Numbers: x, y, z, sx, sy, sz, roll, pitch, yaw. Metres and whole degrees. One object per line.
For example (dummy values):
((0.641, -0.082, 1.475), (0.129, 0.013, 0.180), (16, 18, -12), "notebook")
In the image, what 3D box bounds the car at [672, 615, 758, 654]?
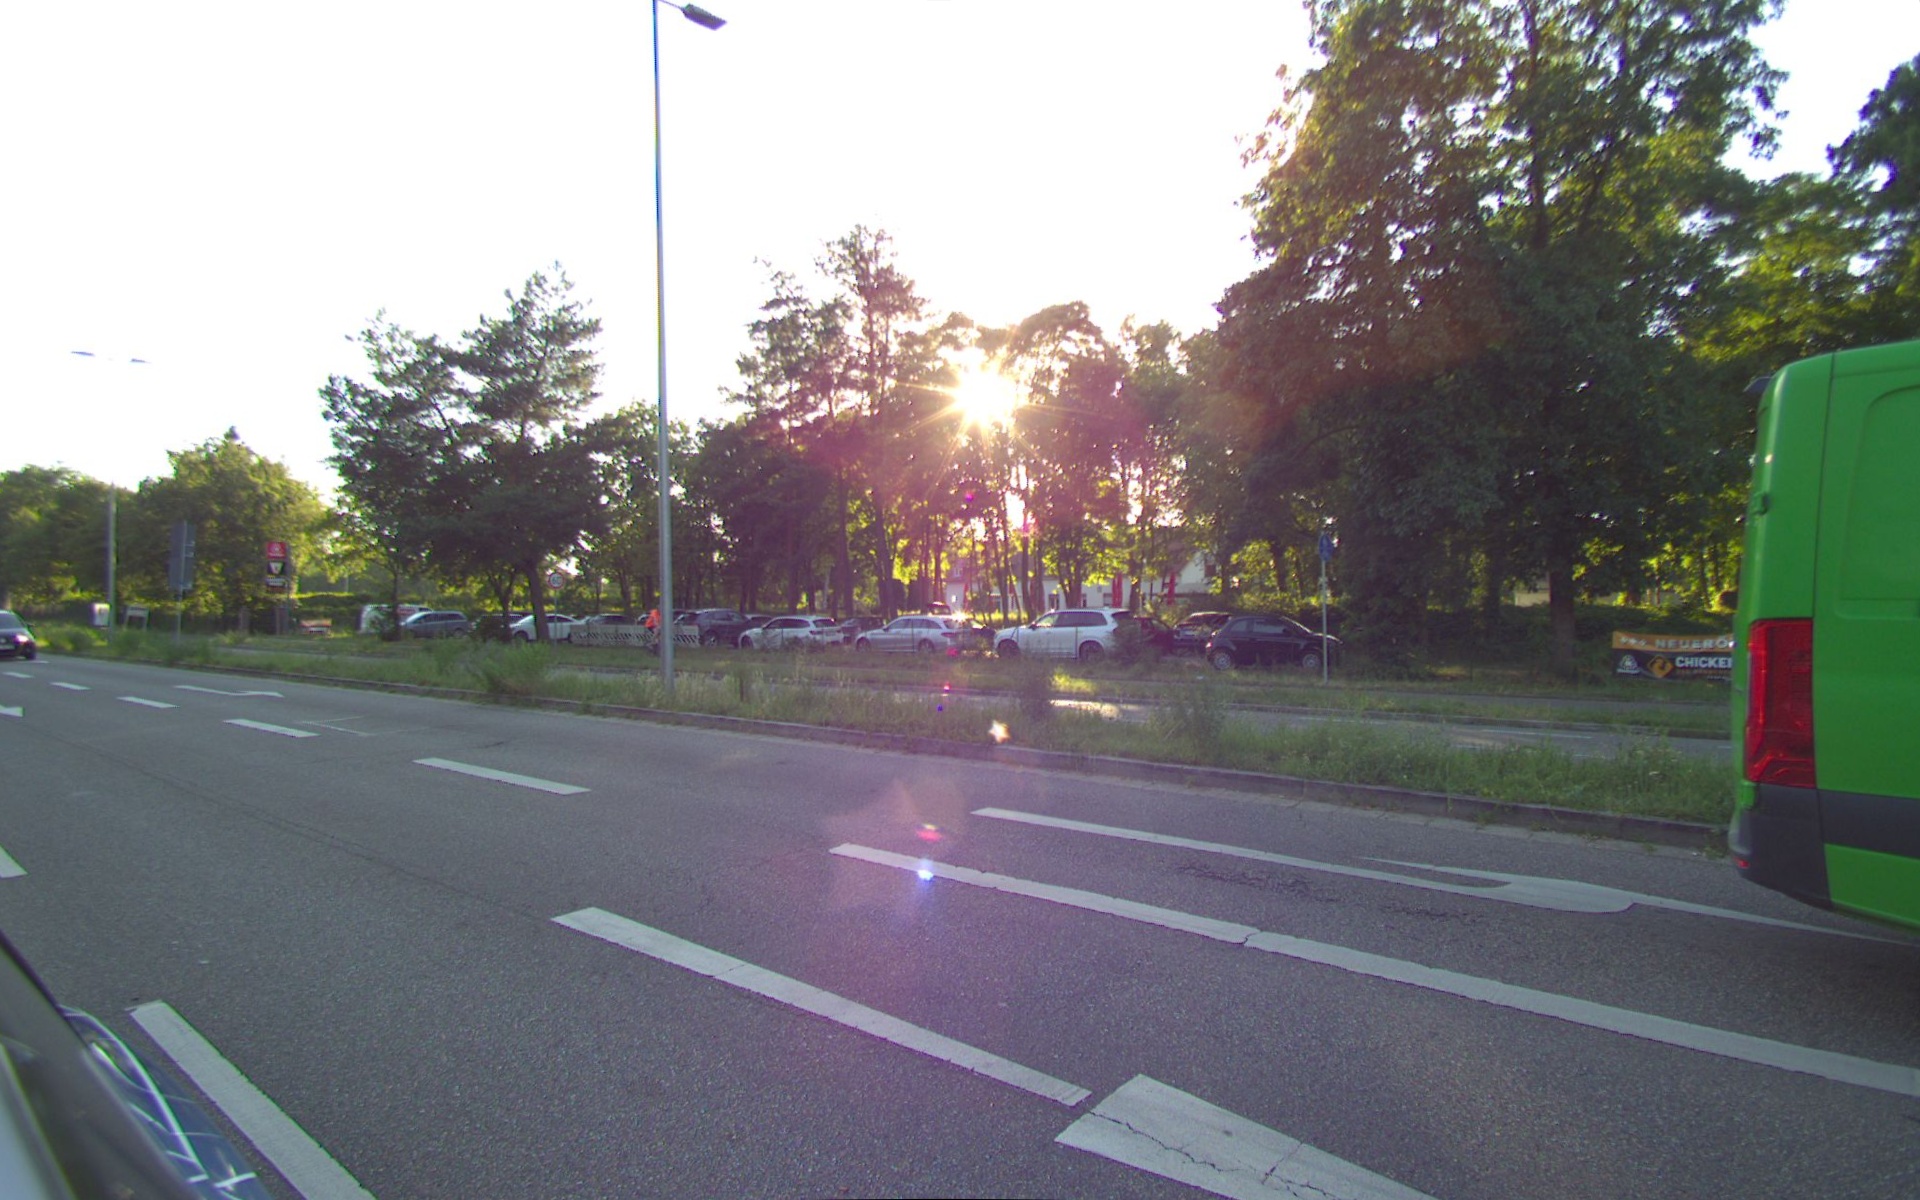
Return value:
((-9.979, 1.385, 41.342), (1.657, 1.538, 3.060), (-1, -2, 38), "car")

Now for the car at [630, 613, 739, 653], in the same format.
((-11.898, 1.418, 43.940), (1.769, 1.629, 4.470), (-1, -2, 37), "car")

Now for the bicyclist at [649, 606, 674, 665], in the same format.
((-9.649, 1.146, 32.711), (0.616, 1.888, 0.454), (-1, -2, 35), "bicyclist")

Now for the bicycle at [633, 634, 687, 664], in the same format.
((-9.723, 1.579, 32.744), (2.039, 0.940, 0.488), (-1, -2, 34), "bicycle")

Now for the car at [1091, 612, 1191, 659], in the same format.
((6.826, 1.313, 37.847), (1.918, 1.663, 3.944), (-1, -2, 42), "car")

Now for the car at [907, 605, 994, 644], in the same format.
((-0.383, 1.105, 45.113), (1.765, 1.663, 3.947), (-1, -2, 39), "car")

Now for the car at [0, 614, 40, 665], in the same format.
((-30.825, 1.228, 32.017), (3.996, 1.564, 1.974), (-1, -2, 39), "car")

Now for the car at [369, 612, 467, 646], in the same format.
((-30.267, 1.606, 56.641), (1.907, 1.811, 4.443), (-1, -2, 38), "car")

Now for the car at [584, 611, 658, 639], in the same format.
((-20.493, 1.507, 61.240), (1.765, 1.663, 3.947), (-1, -2, 40), "car")

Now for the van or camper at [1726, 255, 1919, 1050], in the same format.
((5.472, 0.136, 2.265), (5.891, 2.439, 1.973), (-1, -2, 40), "van or camper")

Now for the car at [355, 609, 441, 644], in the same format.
((-32.538, 1.516, 58.667), (1.764, 1.959, 3.949), (-1, -2, 38), "car")

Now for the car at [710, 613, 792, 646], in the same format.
((-10.899, 1.522, 52.950), (1.765, 1.663, 3.947), (-1, -2, 40), "car")

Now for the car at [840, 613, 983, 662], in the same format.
((-1.743, 1.287, 35.593), (4.913, 1.619, 1.975), (-1, -2, 37), "car")

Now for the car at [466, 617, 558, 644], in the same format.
((-22.682, 1.518, 51.344), (1.731, 1.322, 3.947), (-1, -2, 39), "car")

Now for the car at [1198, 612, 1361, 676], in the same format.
((8.575, 1.148, 27.251), (3.807, 1.609, 1.838), (-1, -2, 36), "car")

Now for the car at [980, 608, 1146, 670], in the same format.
((3.176, 1.178, 31.806), (4.913, 1.800, 1.975), (-1, -2, 37), "car")

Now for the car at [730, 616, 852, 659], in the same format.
((-6.602, 1.416, 39.296), (4.701, 1.560, 1.975), (-1, -2, 37), "car")

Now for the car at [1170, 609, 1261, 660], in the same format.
((9.003, 1.175, 35.444), (1.914, 1.663, 3.954), (-1, -1, 34), "car")

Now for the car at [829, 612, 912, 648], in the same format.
((-4.317, 1.452, 49.048), (1.765, 1.663, 3.947), (-1, -2, 39), "car")

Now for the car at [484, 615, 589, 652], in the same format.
((-20.800, 1.623, 49.846), (1.908, 1.767, 4.441), (-1, -2, 39), "car")
